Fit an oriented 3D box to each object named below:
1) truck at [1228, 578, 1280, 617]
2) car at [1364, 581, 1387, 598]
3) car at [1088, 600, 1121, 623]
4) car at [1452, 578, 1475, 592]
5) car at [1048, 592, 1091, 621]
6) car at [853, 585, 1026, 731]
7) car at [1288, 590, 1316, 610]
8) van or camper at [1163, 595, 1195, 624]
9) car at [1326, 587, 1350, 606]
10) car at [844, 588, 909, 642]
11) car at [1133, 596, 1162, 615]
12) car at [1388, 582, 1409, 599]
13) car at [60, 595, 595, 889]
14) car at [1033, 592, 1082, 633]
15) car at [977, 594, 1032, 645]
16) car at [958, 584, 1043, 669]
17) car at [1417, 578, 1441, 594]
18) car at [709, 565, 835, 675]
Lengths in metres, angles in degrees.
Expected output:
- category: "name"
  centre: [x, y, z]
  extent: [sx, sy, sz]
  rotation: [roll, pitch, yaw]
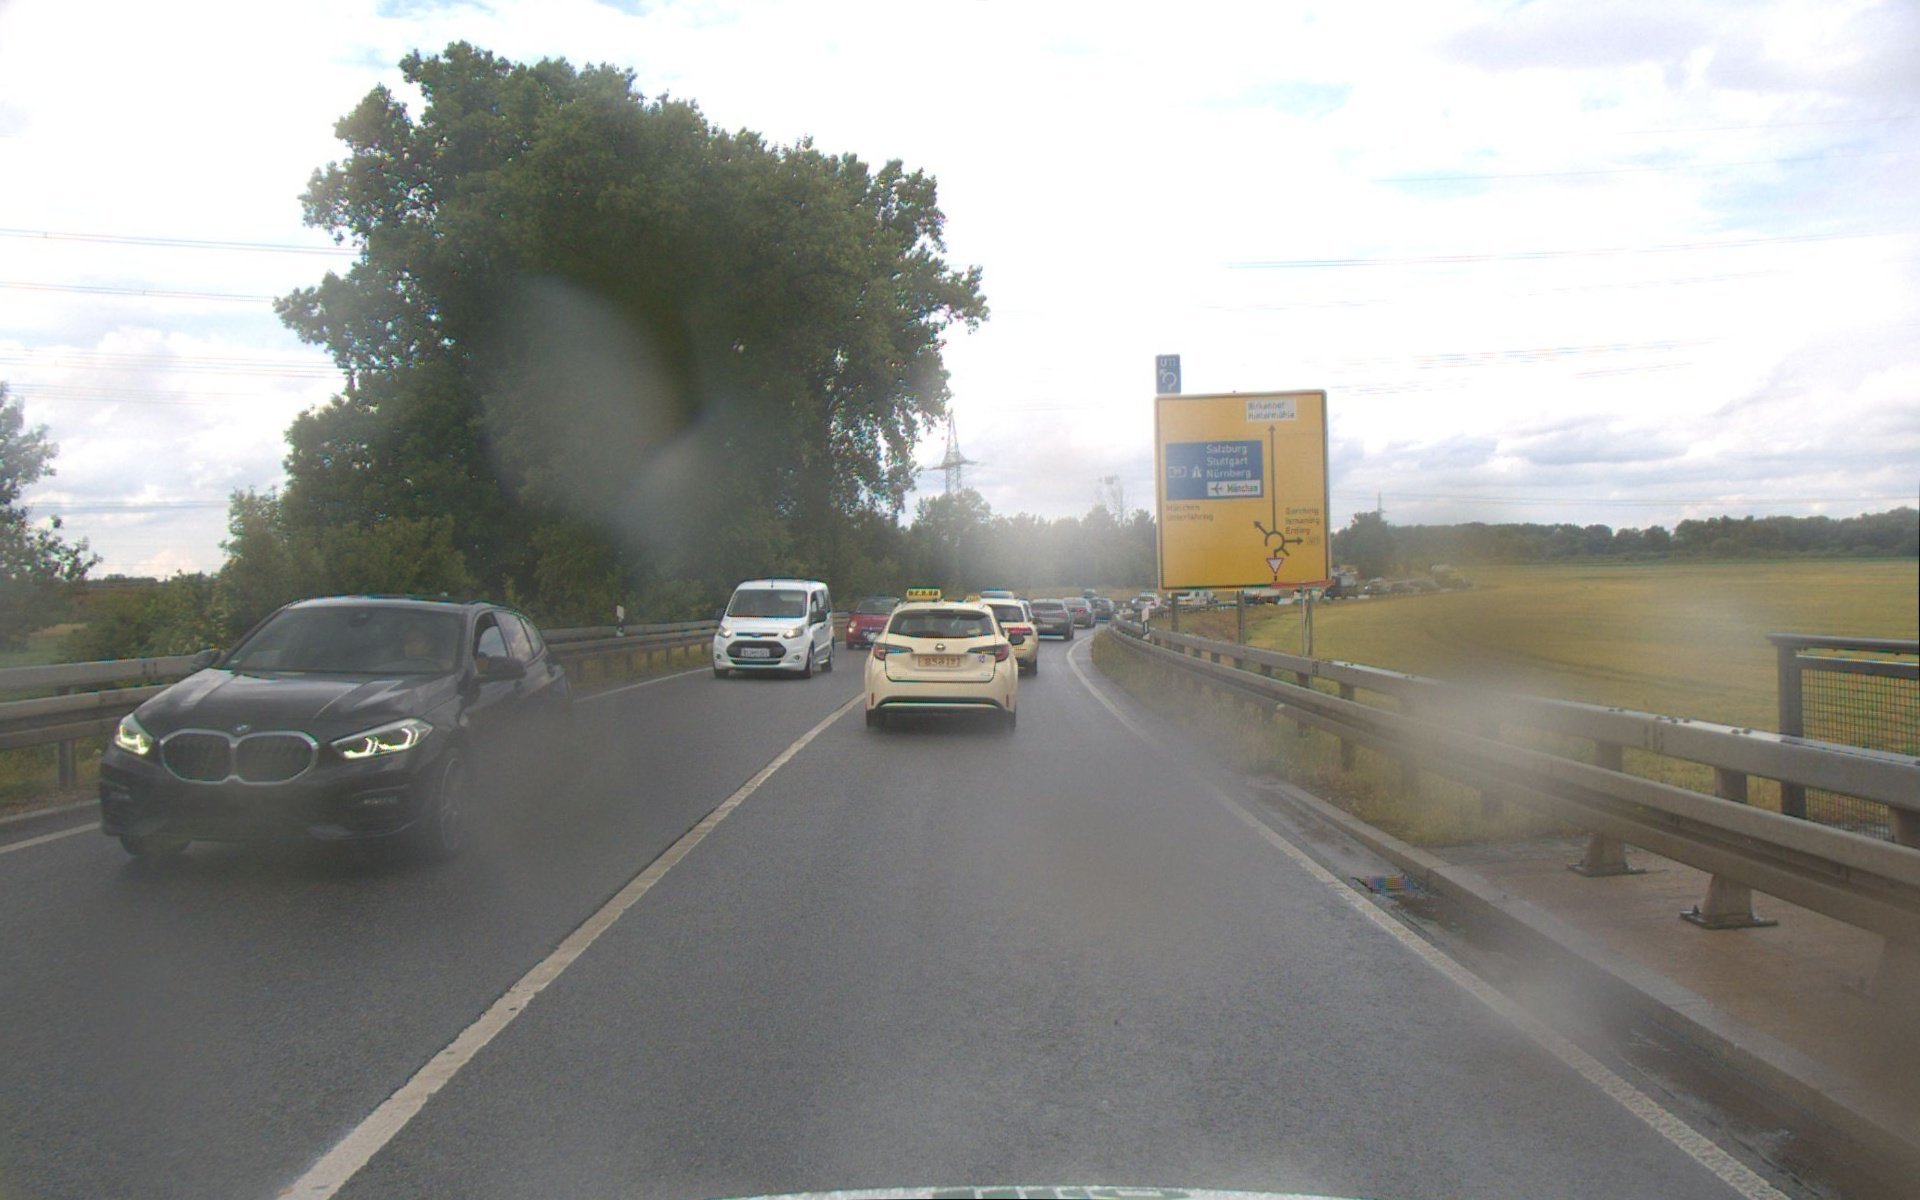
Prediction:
- category: "truck"
  centre: [28.686, -0.234, 161.186]
  extent: [3.078, 3.624, 7.515]
  rotation: [0, -1, 26]
- category: "car"
  centre: [51.161, -1.260, 203.557]
  extent: [2.181, 2.049, 3.998]
  rotation: [0, -1, 24]
- category: "car"
  centre: [8.746, 0.701, 100.086]
  extent: [1.451, 1.332, 3.479]
  rotation: [0, 0, 14]
- category: "car"
  centre: [73.351, -2.237, 241.081]
  extent: [1.736, 2.049, 3.977]
  rotation: [1, 1, 41]
- category: "car"
  centre: [5.692, 0.331, 85.499]
  extent: [1.625, 1.434, 3.907]
  rotation: [0, -1, 13]
- category: "car"
  centre: [-0.167, 0.637, 20.010]
  extent: [1.866, 1.564, 4.162]
  rotation: [0, 0, 1]
- category: "car"
  centre: [37.101, 0.009, 179.365]
  extent: [2.123, 2.049, 3.998]
  rotation: [0, -1, 24]
- category: "van or camper"
  centre: [17.711, 0.779, 133.365]
  extent: [1.951, 2.293, 4.002]
  rotation: [1, -1, 16]
- category: "car"
  centre: [43.485, -0.369, 190.084]
  extent: [1.954, 2.049, 3.997]
  rotation: [0, -1, 25]
- category: "car"
  centre: [-2.430, 0.414, 48.990]
  extent: [1.576, 1.512, 4.002]
  rotation: [0, 1, 2]
- category: "car"
  centre: [13.469, 0.397, 118.544]
  extent: [1.451, 1.332, 3.479]
  rotation: [0, 0, 17]
- category: "car"
  centre: [56.011, -1.165, 211.384]
  extent: [1.954, 2.049, 3.997]
  rotation: [0, -1, 25]
- category: "car"
  centre: [-3.577, 0.707, 10.276]
  extent: [1.662, 1.424, 4.331]
  rotation: [1, 0, 0]
- category: "car"
  centre: [3.681, 0.464, 62.043]
  extent: [1.630, 1.489, 3.479]
  rotation: [0, 0, 6]
- category: "car"
  centre: [1.303, 0.571, 49.307]
  extent: [1.475, 1.462, 3.354]
  rotation: [1, 0, -1]
- category: "car"
  centre: [0.858, 0.507, 33.085]
  extent: [1.545, 1.600, 3.683]
  rotation: [0, 0, 4]
- category: "car"
  centre: [62.997, -1.926, 222.053]
  extent: [1.958, 2.049, 3.988]
  rotation: [0, -1, 33]
- category: "car"
  centre: [-3.469, 0.331, 31.281]
  extent: [1.823, 1.925, 4.490]
  rotation: [0, 1, 1]
